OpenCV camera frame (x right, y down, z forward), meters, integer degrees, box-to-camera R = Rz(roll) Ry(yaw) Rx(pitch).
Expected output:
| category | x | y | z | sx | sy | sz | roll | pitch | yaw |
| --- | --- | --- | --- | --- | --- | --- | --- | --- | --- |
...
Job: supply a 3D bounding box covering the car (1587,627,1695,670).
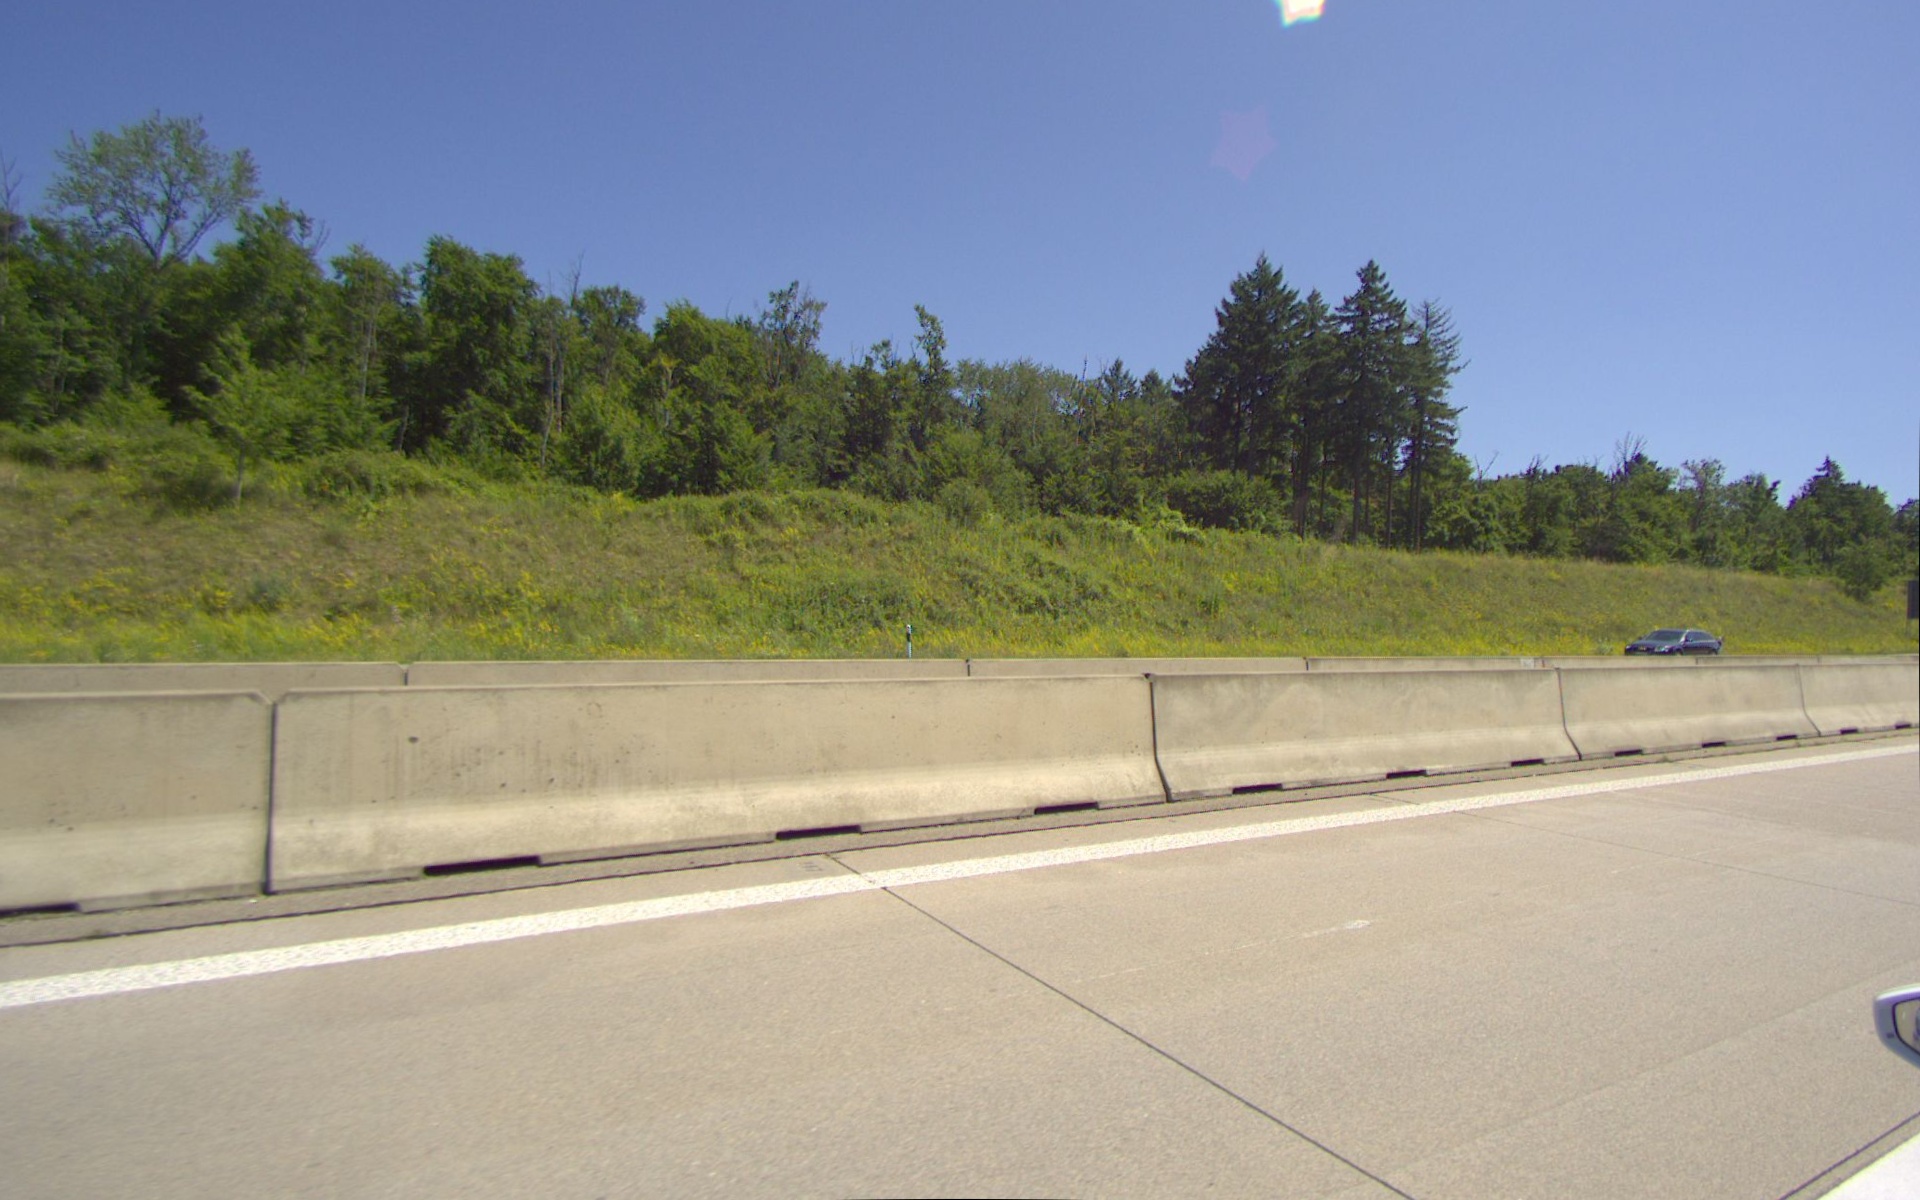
| category | x | y | z | sx | sy | sz | roll | pitch | yaw |
| --- | --- | --- | --- | --- | --- | --- | --- | --- | --- |
| car | 26.999 | 1.933 | 39.794 | 3.994 | 1.604 | 1.985 | 2 | -1 | -30 |
